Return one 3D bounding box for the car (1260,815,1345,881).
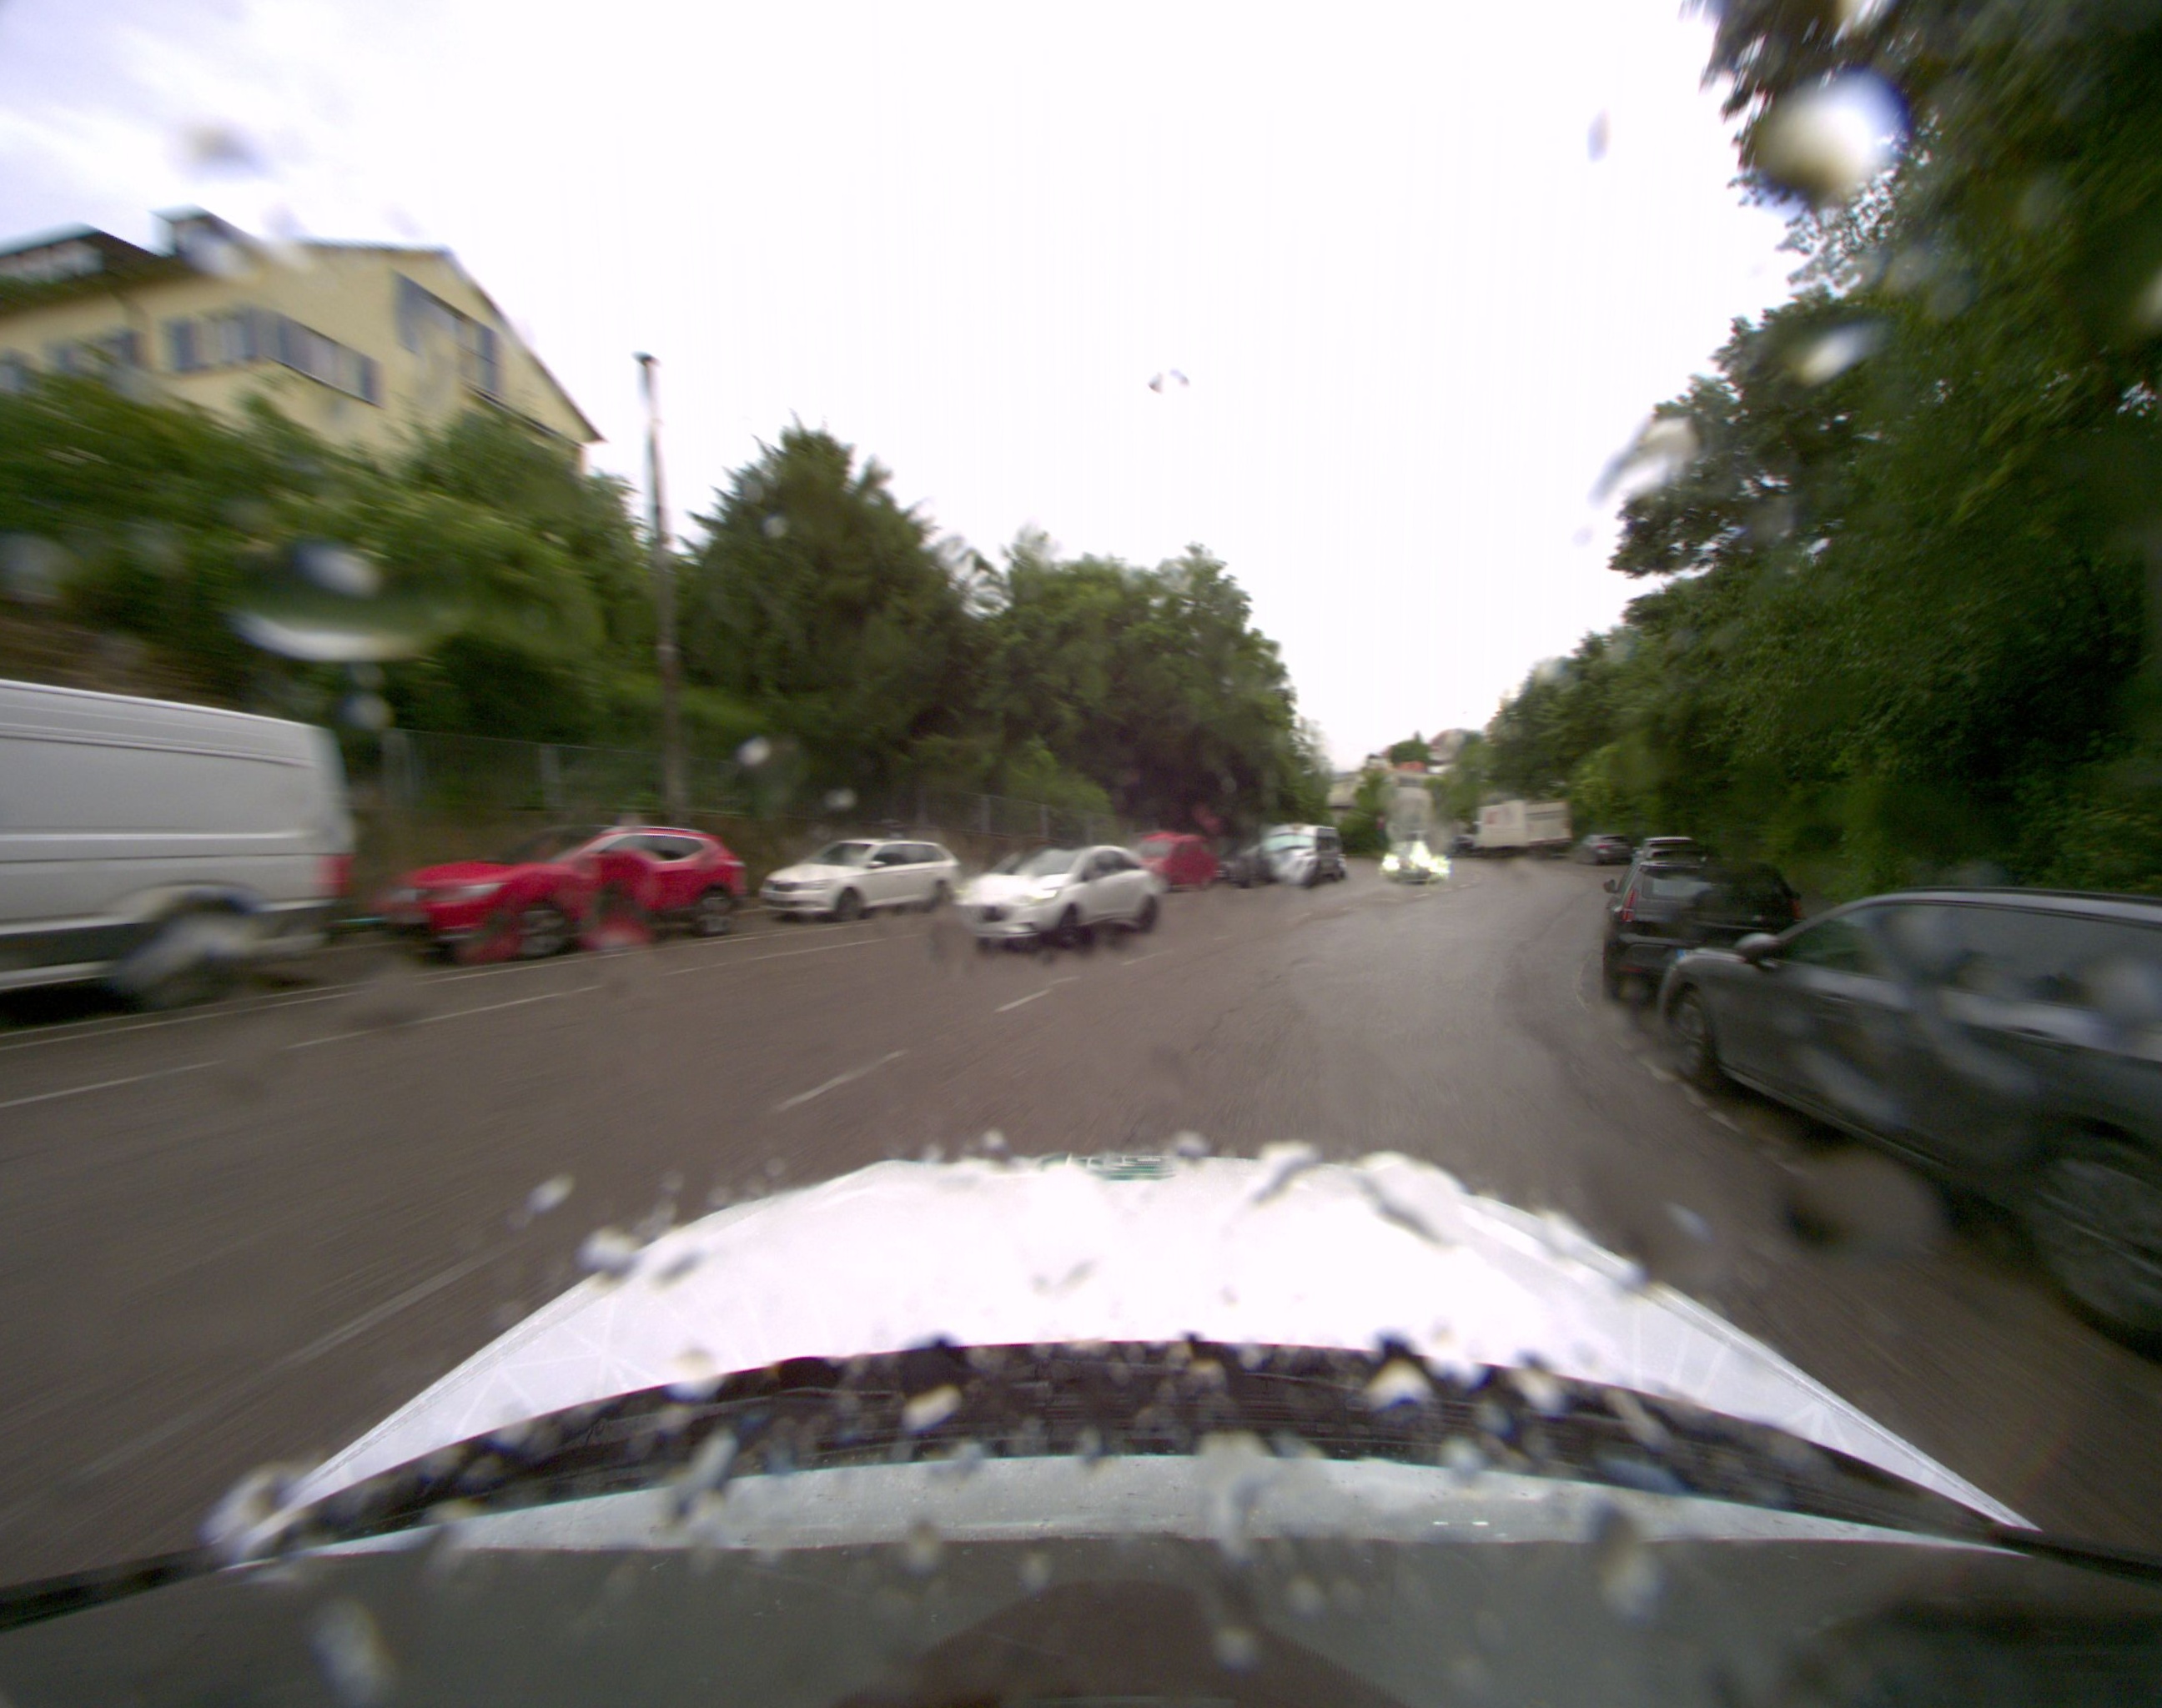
[{"bbox_3d":[9.679,-0.261,35.155,2.054,2.549,6.386,-2,0,28],"label":"car"}]

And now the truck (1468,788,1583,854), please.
[{"bbox_3d":[27.273,-1.870,50.506,2.992,3.574,8.349,-4,0,5],"label":"truck"}]

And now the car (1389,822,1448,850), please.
[{"bbox_3d":[26.476,-1.369,64.066,1.879,2.013,4.668,-2,0,-14],"label":"car"}]

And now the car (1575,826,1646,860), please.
[{"bbox_3d":[25.222,-0.551,38.925,1.707,1.444,4.144,-4,0,17],"label":"car"}]

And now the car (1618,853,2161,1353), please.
[{"bbox_3d":[4.600,0.781,3.827,1.888,1.488,4.893,1,1,13],"label":"car"}]

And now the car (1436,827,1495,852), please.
[{"bbox_3d":[27.201,-0.997,57.807,1.717,1.555,4.267,-5,0,-7],"label":"car"}]

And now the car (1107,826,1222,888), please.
[{"bbox_3d":[2.715,0.114,25.620,1.733,1.768,4.163,-1,-1,36],"label":"car"}]

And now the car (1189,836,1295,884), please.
[{"bbox_3d":[5.895,0.169,29.473,1.974,1.619,4.425,0,0,38],"label":"car"}]

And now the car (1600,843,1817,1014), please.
[{"bbox_3d":[7.005,0.650,9.414,1.611,1.488,3.769,2,2,33],"label":"car"}]

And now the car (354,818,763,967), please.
[{"bbox_3d":[-6.668,0.372,11.070,1.760,1.585,4.457,1,1,23],"label":"car"}]

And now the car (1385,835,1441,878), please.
[{"bbox_3d":[13.126,0.079,32.079,1.851,1.516,4.509,-2,0,23],"label":"car"}]

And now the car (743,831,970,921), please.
[{"bbox_3d":[-4.200,0.329,15.922,1.721,1.478,4.225,2,2,31],"label":"car"}]

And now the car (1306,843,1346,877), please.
[{"bbox_3d":[12.638,0.333,41.938,1.789,1.583,4.043,-4,-2,17],"label":"car"}]

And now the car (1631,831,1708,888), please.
[{"bbox_3d":[16.777,0.100,23.221,1.644,1.424,3.994,0,2,36],"label":"car"}]

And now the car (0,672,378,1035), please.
[{"bbox_3d":[-8.710,-0.003,4.987,2.021,2.530,6.845,1,1,11],"label":"car"}]

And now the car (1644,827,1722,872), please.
[{"bbox_3d":[20.269,-0.192,27.564,1.738,1.400,4.122,-1,1,31],"label":"car"}]

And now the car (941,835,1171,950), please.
[{"bbox_3d":[-0.214,0.455,12.722,1.587,1.495,4.059,1,2,32],"label":"car"}]

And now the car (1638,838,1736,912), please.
[{"bbox_3d":[13.516,0.378,18.121,1.575,1.389,3.846,2,3,38],"label":"car"}]
